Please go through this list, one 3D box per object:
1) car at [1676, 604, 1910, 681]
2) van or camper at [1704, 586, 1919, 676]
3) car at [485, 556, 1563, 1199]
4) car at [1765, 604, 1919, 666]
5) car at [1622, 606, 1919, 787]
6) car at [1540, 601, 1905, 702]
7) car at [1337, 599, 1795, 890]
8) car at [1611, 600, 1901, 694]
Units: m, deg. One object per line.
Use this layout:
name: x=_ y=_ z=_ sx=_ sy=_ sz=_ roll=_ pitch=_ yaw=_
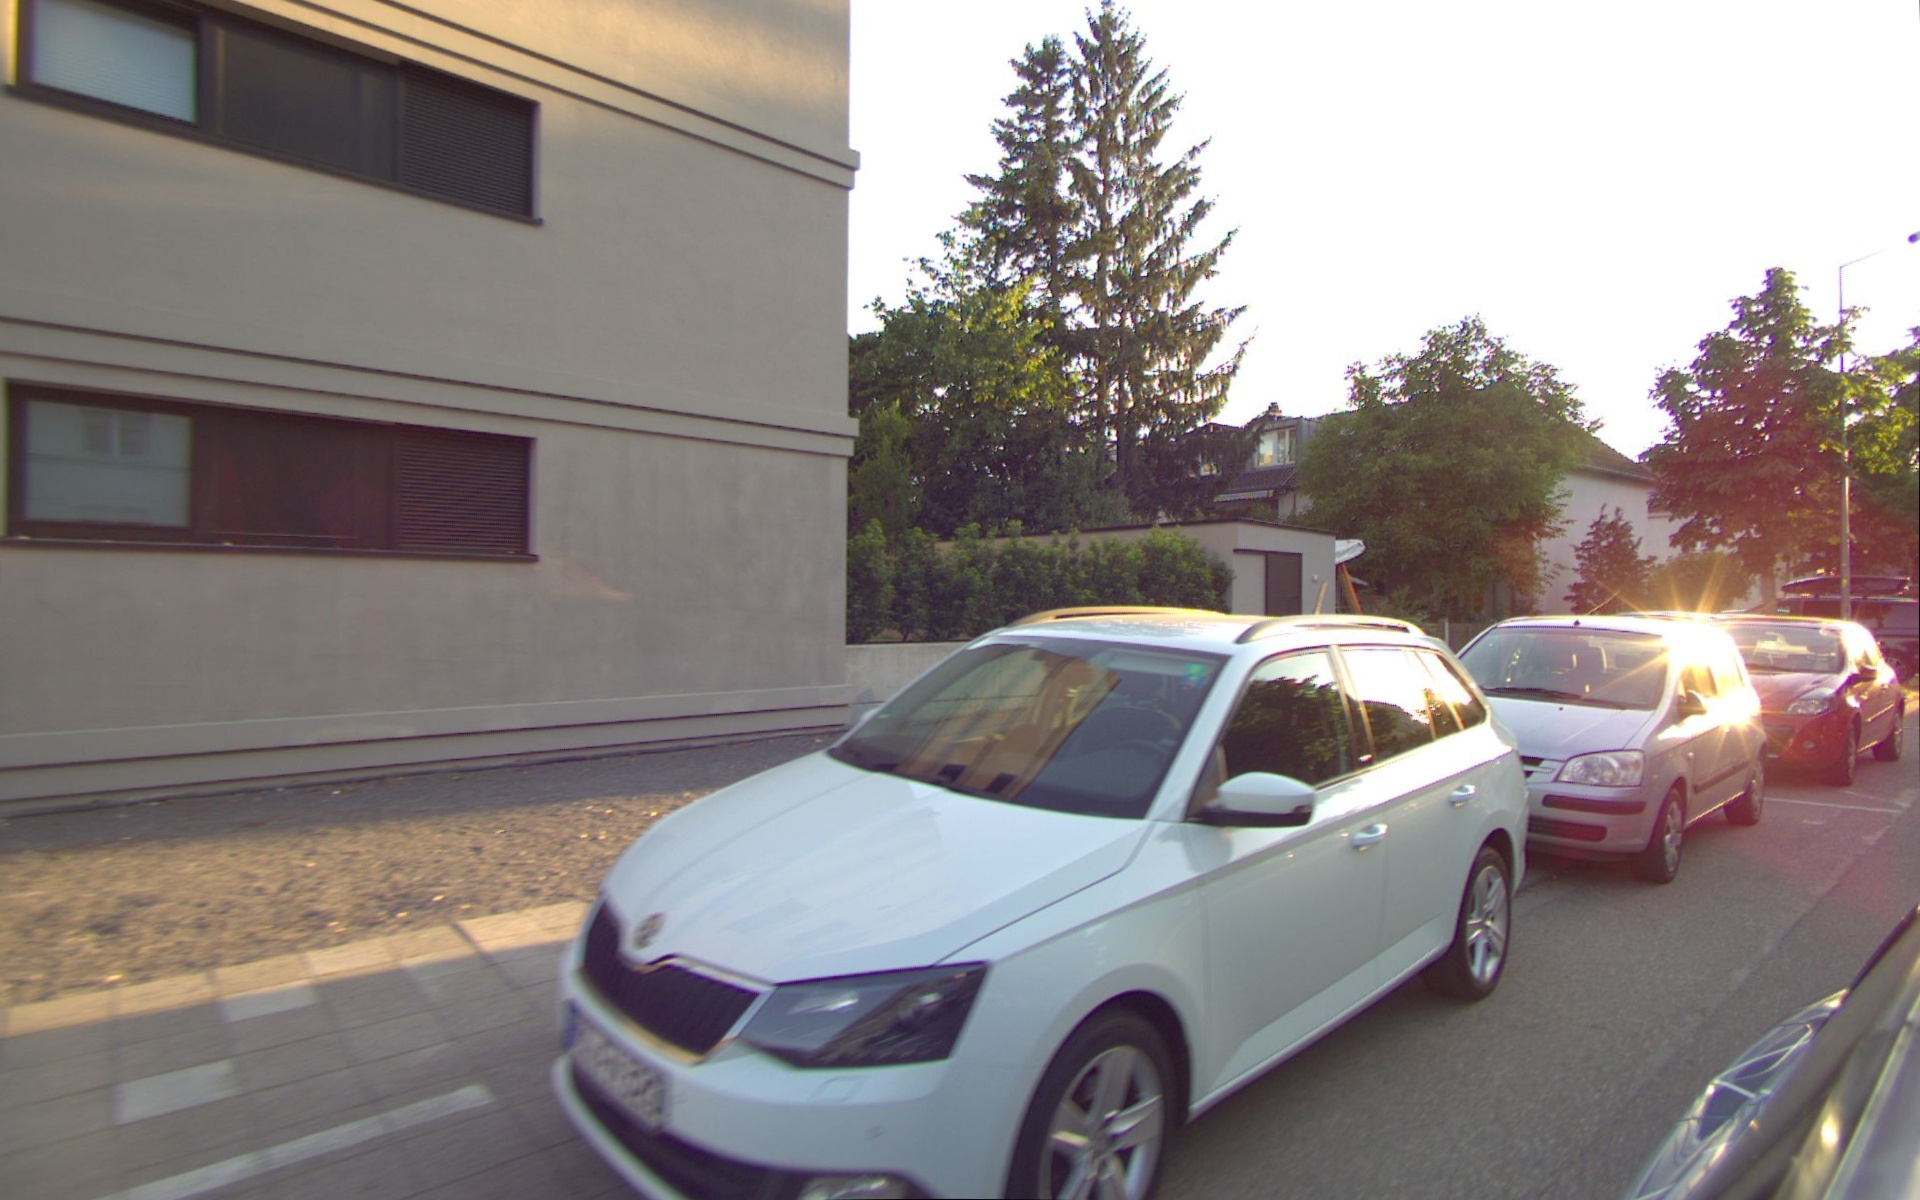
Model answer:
car: x=18.477 y=0.874 z=22.576 sx=1.601 sy=1.563 sz=3.837 roll=0 pitch=0 yaw=-41
van or camper: x=20.639 y=0.677 z=23.929 sx=2.060 sy=1.978 sz=4.651 roll=0 pitch=0 yaw=-43
car: x=0.635 y=0.673 z=3.613 sx=3.930 sy=1.488 sz=1.616 roll=0 pitch=0 yaw=-44
car: x=24.438 y=0.893 z=27.316 sx=1.761 sy=1.580 sz=3.994 roll=0 pitch=0 yaw=-40
car: x=8.363 y=0.820 z=10.321 sx=3.692 sy=1.488 sz=1.744 roll=0 pitch=0 yaw=-41
car: x=13.070 y=0.787 z=17.655 sx=1.739 sy=1.415 sz=4.828 roll=1 pitch=1 yaw=-40
car: x=4.413 y=0.741 z=7.134 sx=3.778 sy=1.488 sz=1.799 roll=0 pitch=0 yaw=-43
car: x=15.145 y=0.818 z=19.452 sx=1.737 sy=1.520 sz=4.066 roll=1 pitch=1 yaw=-38
